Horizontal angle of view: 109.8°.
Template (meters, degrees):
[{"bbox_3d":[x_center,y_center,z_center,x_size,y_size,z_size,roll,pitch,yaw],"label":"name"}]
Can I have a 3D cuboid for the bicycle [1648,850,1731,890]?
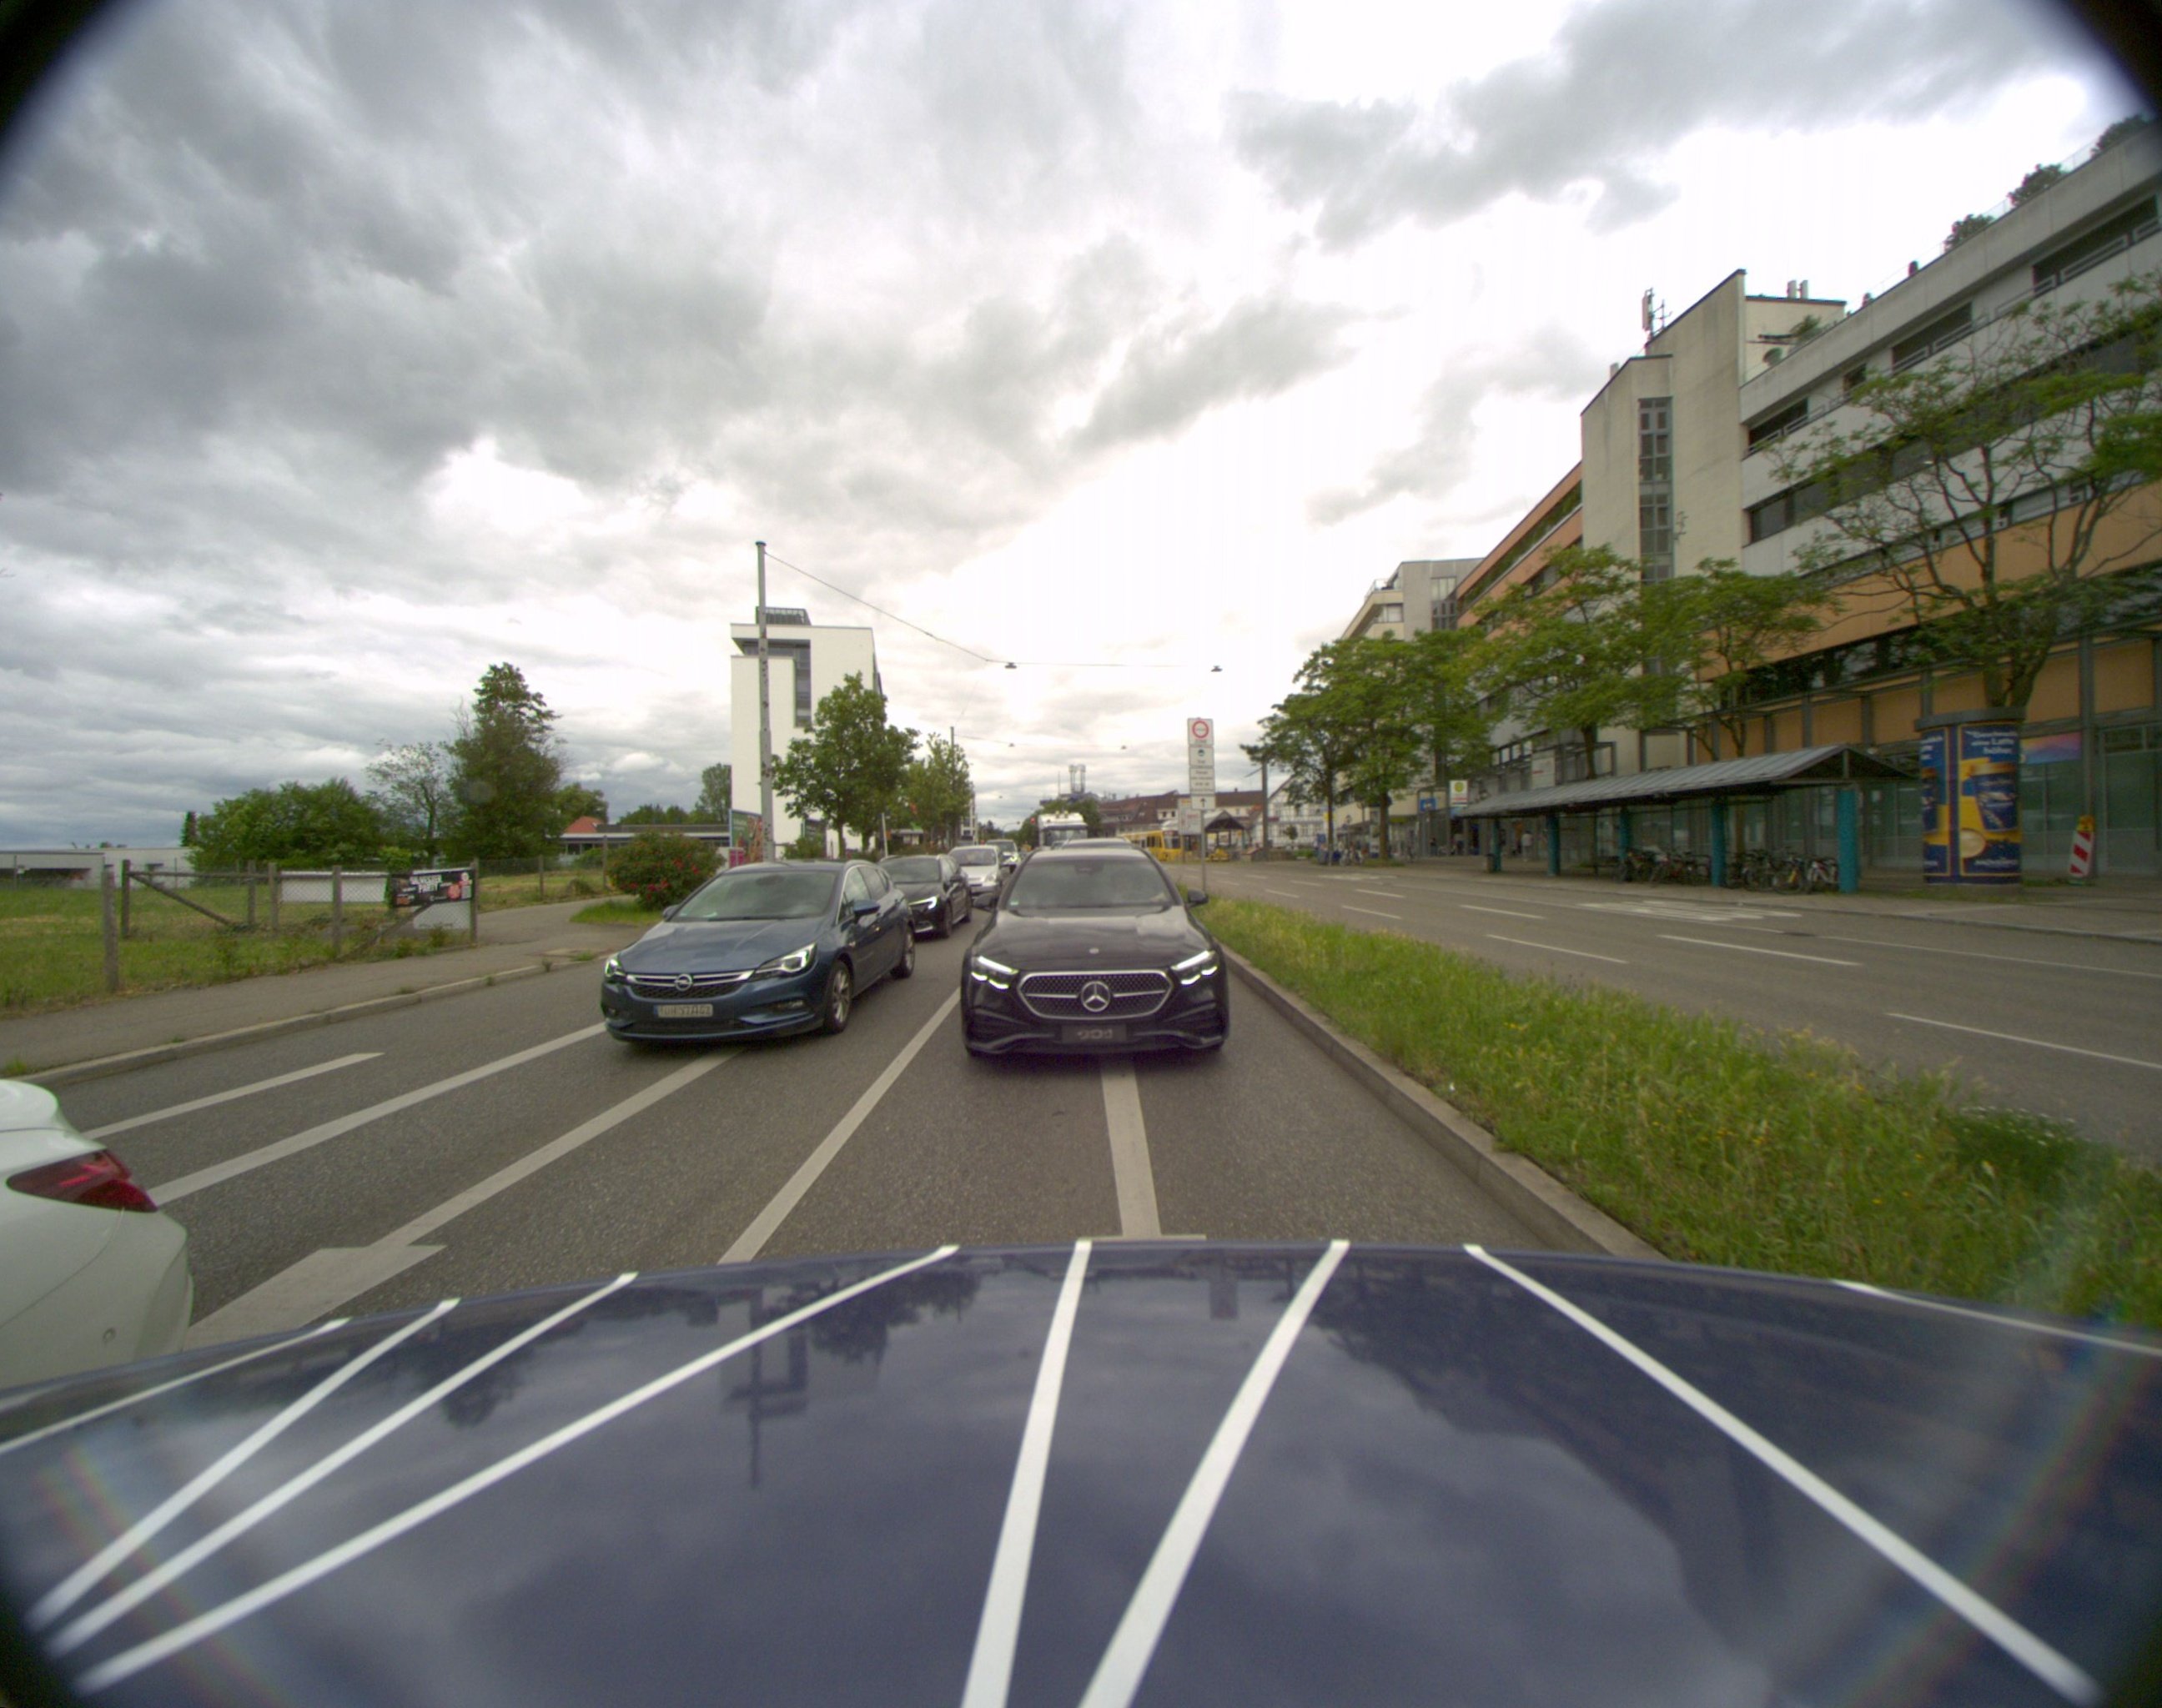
[{"bbox_3d":[18.160,0.464,22.695,2.069,1.084,0.542,-2,2,-1],"label":"bicycle"}]

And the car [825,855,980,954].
[{"bbox_3d":[-3.114,0.808,14.169,1.798,1.464,4.309,-1,1,1],"label":"car"}]

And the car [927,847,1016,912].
[{"bbox_3d":[-2.954,0.622,21.380,1.798,1.590,4.309,-1,1,1],"label":"car"}]

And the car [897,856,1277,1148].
[{"bbox_3d":[0.138,0.824,6.633,2.058,1.477,4.973,0,1,3],"label":"car"}]

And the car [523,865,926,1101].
[{"bbox_3d":[-2.887,0.925,7.376,1.798,1.464,4.309,-1,1,1],"label":"car"}]

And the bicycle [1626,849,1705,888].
[{"bbox_3d":[18.273,0.439,23.759,2.069,1.132,0.542,-2,2,-1],"label":"bicycle"}]

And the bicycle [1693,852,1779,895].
[{"bbox_3d":[18.244,0.525,21.187,2.070,1.084,0.542,-2,2,-6],"label":"bicycle"}]

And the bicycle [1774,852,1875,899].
[{"bbox_3d":[18.864,0.535,19.286,2.206,1.084,0.542,-2,2,-6],"label":"bicycle"}]

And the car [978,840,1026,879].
[{"bbox_3d":[-3.736,0.228,36.448,2.021,1.760,3.999,-1,1,-2],"label":"car"}]

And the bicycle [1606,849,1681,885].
[{"bbox_3d":[18.256,0.410,24.674,2.069,1.084,0.542,-2,2,-1],"label":"bicycle"}]

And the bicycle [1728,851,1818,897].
[{"bbox_3d":[18.537,0.523,20.364,2.070,1.132,0.542,-2,2,-6],"label":"bicycle"}]

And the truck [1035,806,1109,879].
[{"bbox_3d":[-0.591,-0.572,37.980,3.120,3.209,6.521,-2,1,-5],"label":"truck"}]
